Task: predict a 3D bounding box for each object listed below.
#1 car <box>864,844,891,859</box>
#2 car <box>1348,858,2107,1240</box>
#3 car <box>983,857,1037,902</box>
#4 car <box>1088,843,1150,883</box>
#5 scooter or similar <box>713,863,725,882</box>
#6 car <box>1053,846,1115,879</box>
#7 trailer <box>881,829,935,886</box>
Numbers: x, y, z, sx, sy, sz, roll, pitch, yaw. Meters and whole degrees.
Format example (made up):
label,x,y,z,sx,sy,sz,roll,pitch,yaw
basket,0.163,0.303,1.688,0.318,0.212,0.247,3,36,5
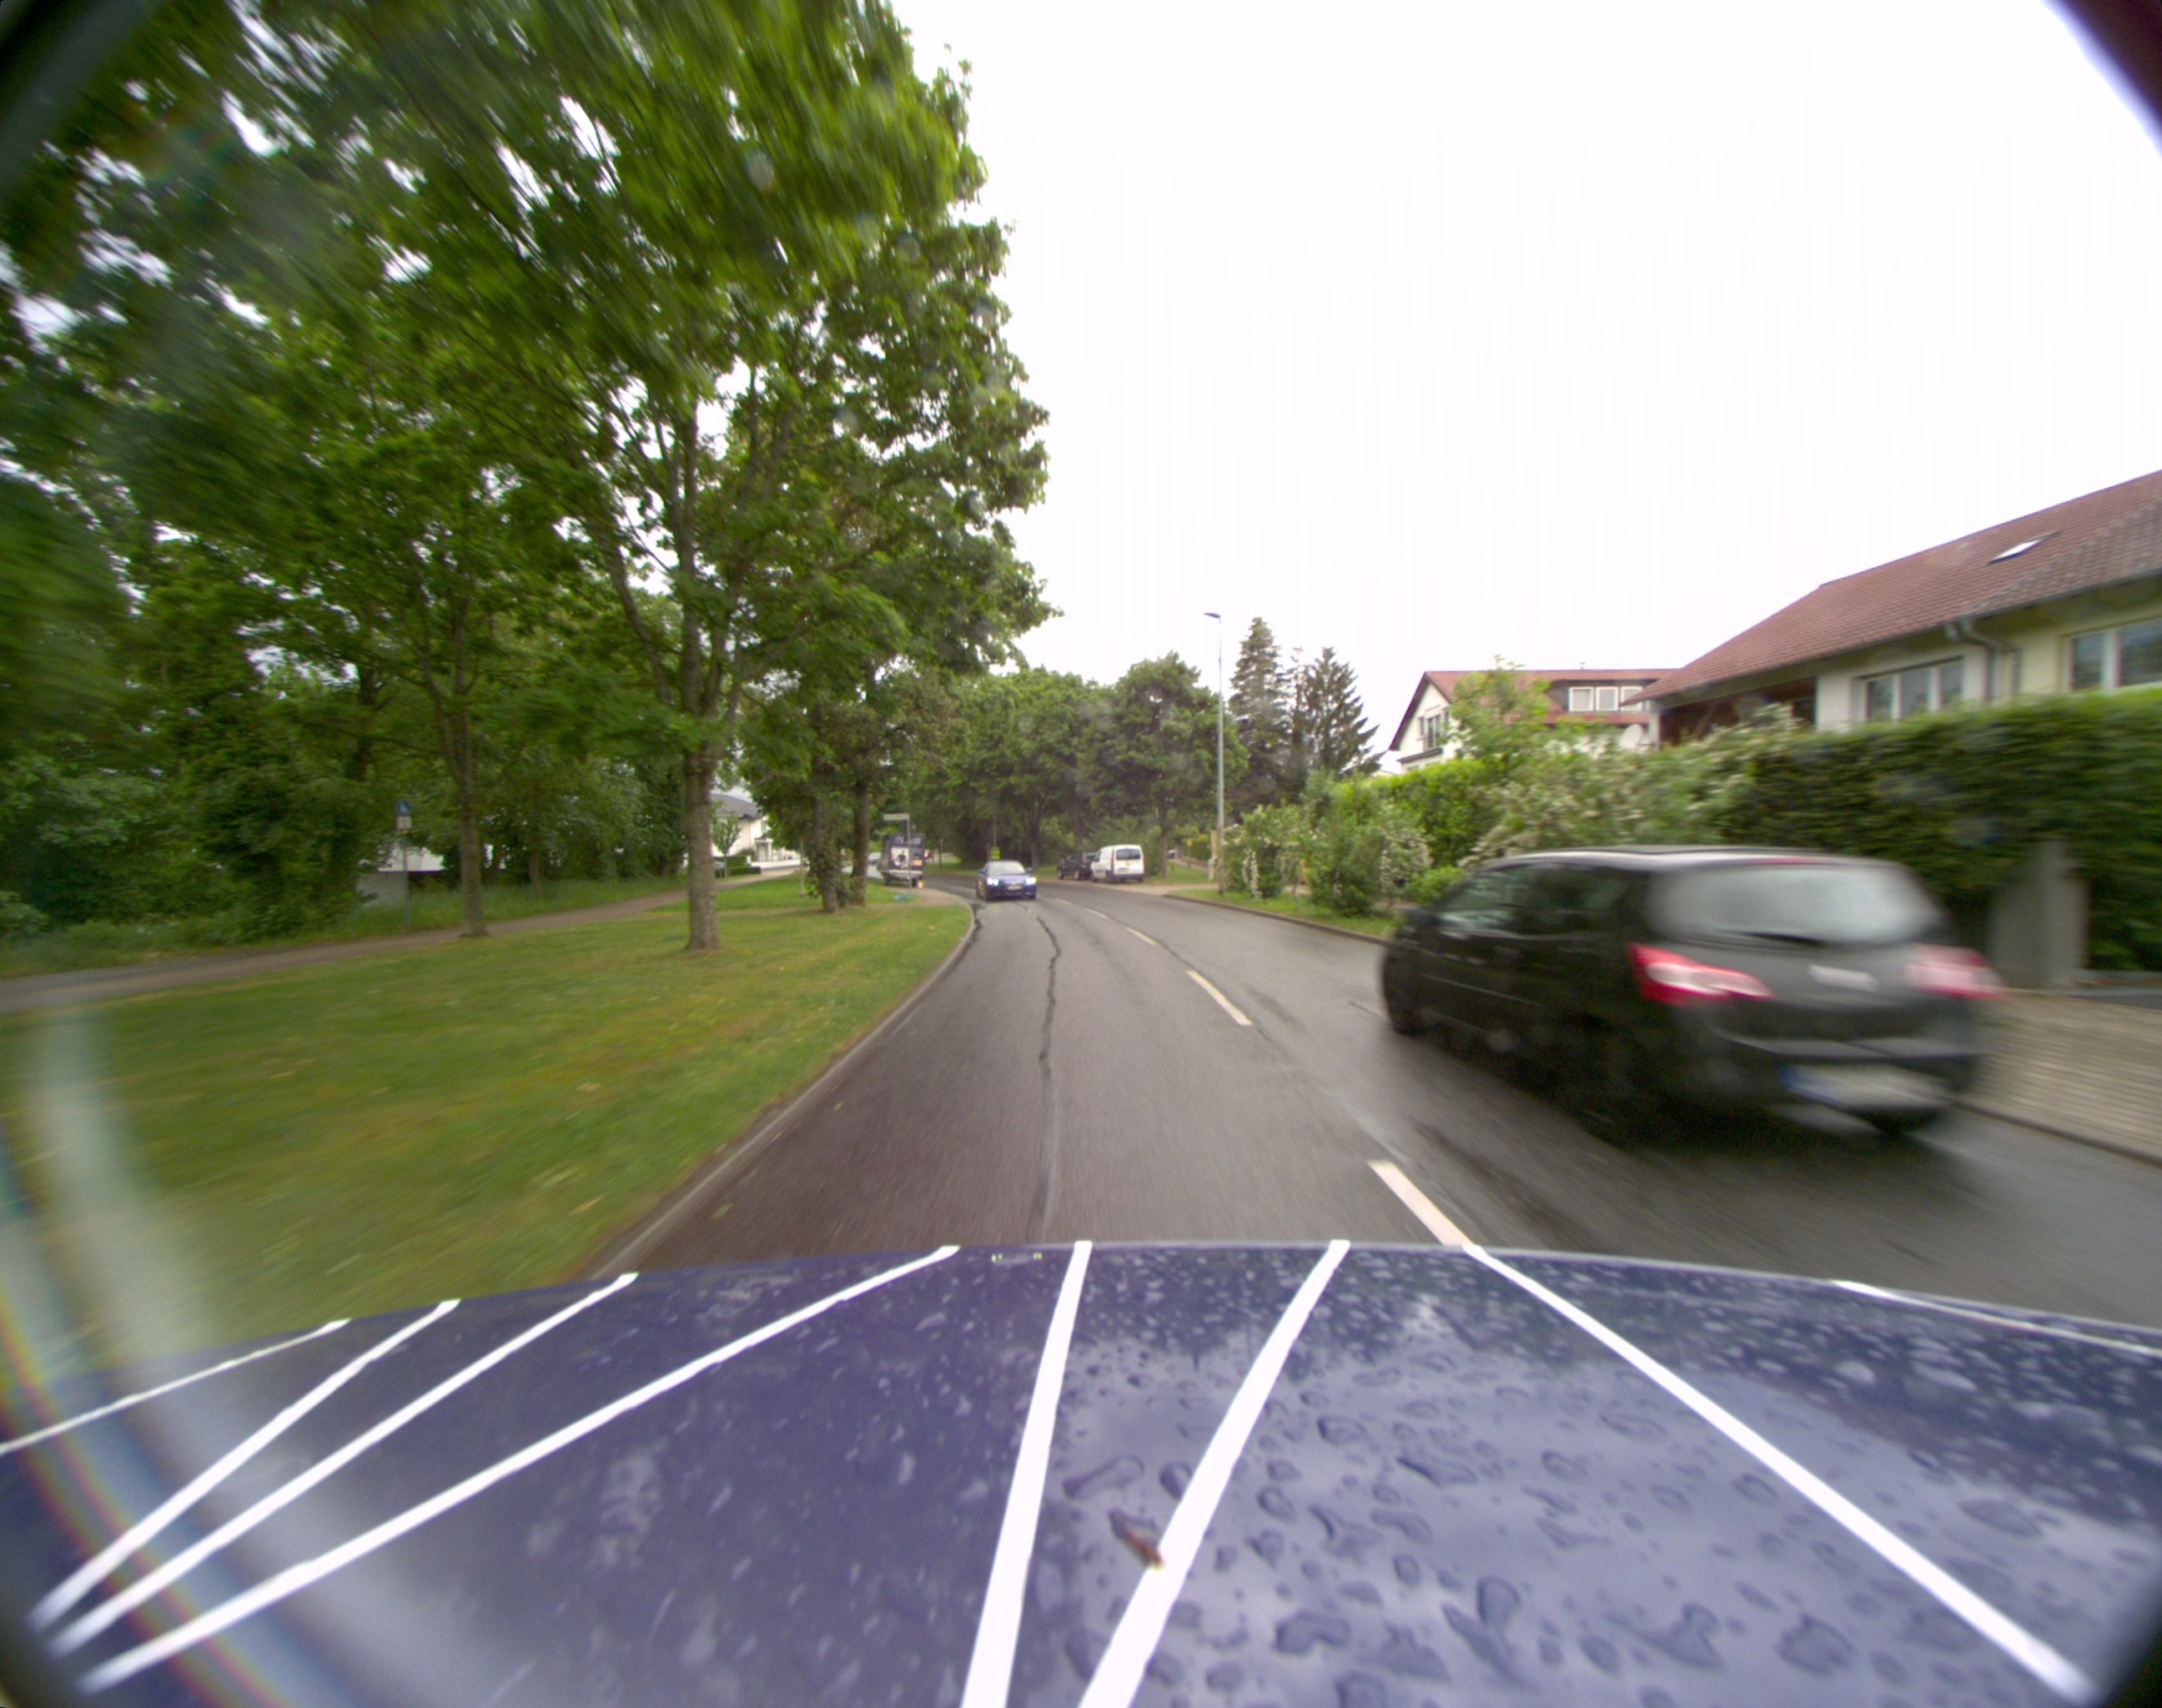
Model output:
label,x,y,z,sx,sy,sz,roll,pitch,yaw
car,-27.888,-0.363,104.428,1.997,1.848,4.001,-3,2,10
car,3.261,0.783,4.961,1.587,1.469,3.895,-1,0,-1
car,-2.769,0.911,28.899,1.816,1.460,3.971,-3,1,-8
car,1.786,0.398,37.217,1.805,1.785,4.366,-3,1,-14
scooter or similar,-23.134,1.173,48.532,0.465,1.140,1.299,0,1,-16
car,0.097,0.410,42.178,1.757,1.631,4.583,-4,2,-22
trailer,-9.472,0.192,41.283,2.002,2.791,5.598,4,-1,-20
